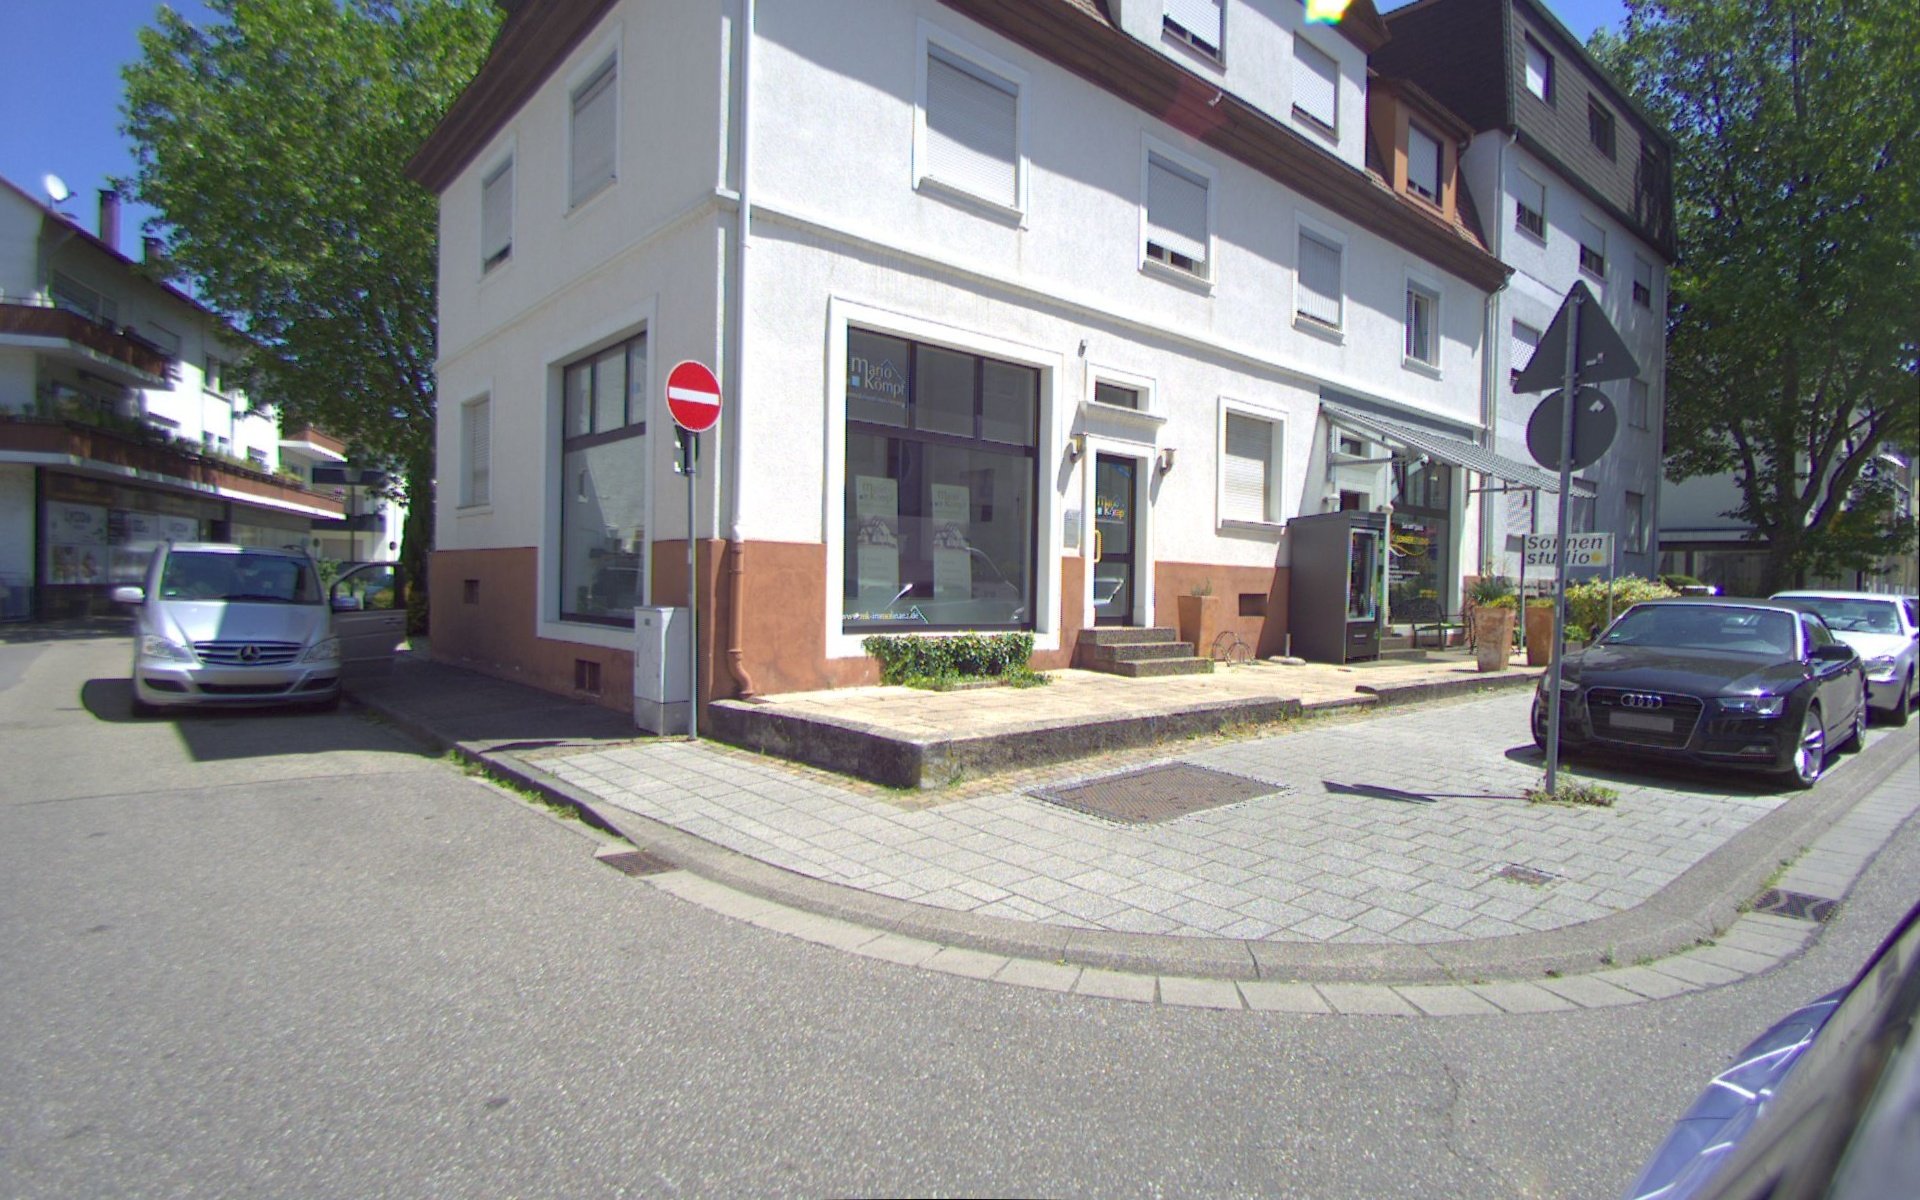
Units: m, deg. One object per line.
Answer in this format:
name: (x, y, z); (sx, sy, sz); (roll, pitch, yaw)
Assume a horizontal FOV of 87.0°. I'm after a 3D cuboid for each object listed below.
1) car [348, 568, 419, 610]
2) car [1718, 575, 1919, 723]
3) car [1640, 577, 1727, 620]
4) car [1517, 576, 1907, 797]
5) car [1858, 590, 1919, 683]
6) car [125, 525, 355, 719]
car: (-21.994, -0.431, 38.752); (1.739, 1.527, 3.837); (1, 1, -20)
car: (11.418, 0.489, 12.929); (4.767, 1.486, 1.748); (-1, 4, -41)
car: (27.630, -0.107, 38.777); (1.715, 1.518, 3.443); (1, 2, 18)
car: (6.934, 0.560, 9.125); (4.618, 1.444, 1.831); (-1, 3, -41)
car: (15.837, 0.548, 16.277); (4.101, 1.357, 1.561); (0, 3, -41)
car: (-8.903, 0.173, 12.383); (1.893, 1.900, 4.806); (2, 0, -39)
